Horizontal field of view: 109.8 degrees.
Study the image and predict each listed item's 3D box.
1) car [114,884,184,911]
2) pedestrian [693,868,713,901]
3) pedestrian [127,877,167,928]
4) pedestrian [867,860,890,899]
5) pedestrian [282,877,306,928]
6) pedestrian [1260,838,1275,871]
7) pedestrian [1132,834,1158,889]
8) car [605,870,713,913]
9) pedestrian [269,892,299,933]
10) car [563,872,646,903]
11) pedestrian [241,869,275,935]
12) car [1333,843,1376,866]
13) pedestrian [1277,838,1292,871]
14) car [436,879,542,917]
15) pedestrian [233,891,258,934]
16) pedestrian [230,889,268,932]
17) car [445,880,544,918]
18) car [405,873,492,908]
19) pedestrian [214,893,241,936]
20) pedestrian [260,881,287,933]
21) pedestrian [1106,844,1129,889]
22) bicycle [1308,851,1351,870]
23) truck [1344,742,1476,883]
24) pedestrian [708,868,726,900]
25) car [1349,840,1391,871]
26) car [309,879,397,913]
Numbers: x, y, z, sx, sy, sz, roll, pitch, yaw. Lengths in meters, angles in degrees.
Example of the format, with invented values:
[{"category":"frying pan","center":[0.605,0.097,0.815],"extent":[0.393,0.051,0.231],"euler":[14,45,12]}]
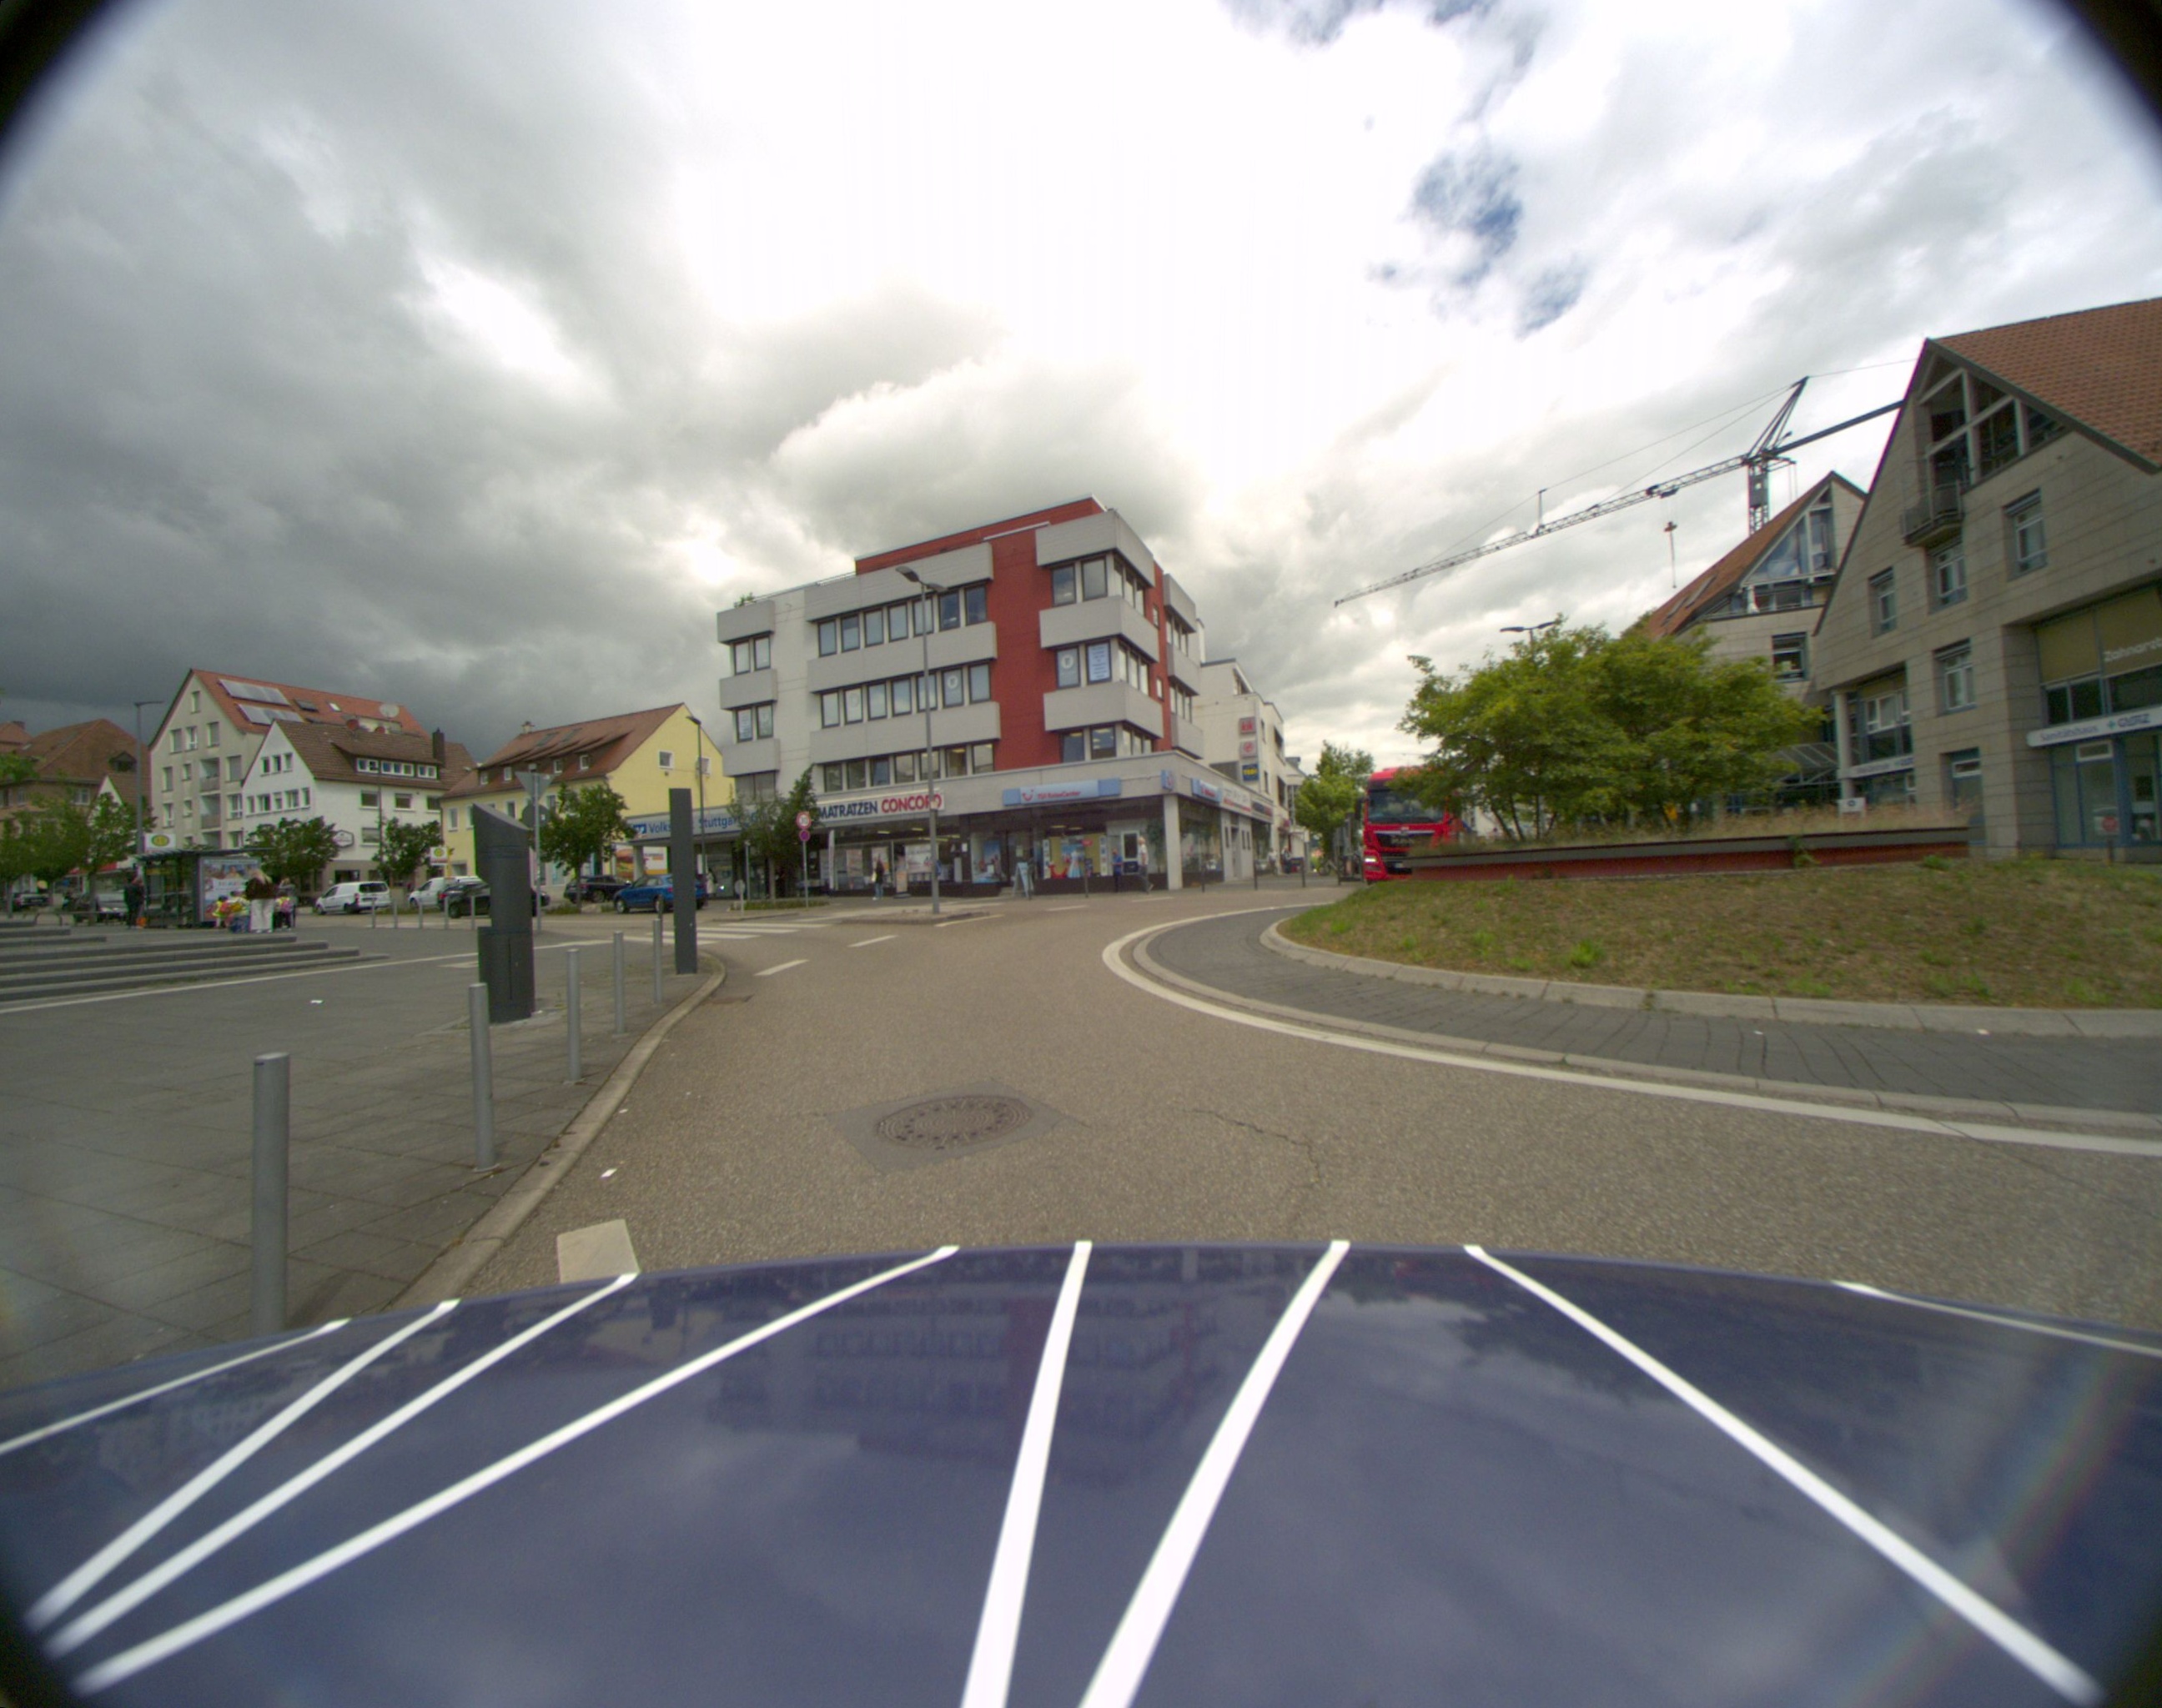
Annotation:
[{"category":"car","center":[-61.392,2.831,50.066],"extent":[4.124,1.637,1.673],"euler":[-1,1,22]},{"category":"pedestrian","center":[-18.451,1.480,37.083],"extent":[0.585,1.557,0.646],"euler":[-2,-2,24]},{"category":"pedestrian","center":[-31.109,1.610,25.310],"extent":[0.685,1.627,0.802],"euler":[-2,-1,39]},{"category":"pedestrian","center":[-8.493,1.059,31.867],"extent":[0.637,1.579,0.589],"euler":[-2,1,21]},{"category":"pedestrian","center":[-25.351,1.547,24.478],"extent":[0.388,1.609,0.468],"euler":[0,-2,-26]},{"category":"pedestrian","center":[10.226,0.036,41.730],"extent":[0.680,1.745,0.511],"euler":[-2,1,18]},{"category":"pedestrian","center":[2.253,0.248,26.613],"extent":[0.680,1.864,0.807],"euler":[-2,0,17]},{"category":"car","center":[-17.569,1.571,31.600],"extent":[4.321,1.591,1.702],"euler":[-2,2,27]},{"category":"pedestrian","center":[-23.119,1.695,22.037],"extent":[0.390,1.165,0.477],"euler":[-2,-2,27]},{"category":"car","center":[-26.956,1.853,43.076],"extent":[1.664,1.549,3.645],"euler":[-2,0,23]},{"category":"pedestrian","center":[-23.019,1.326,21.256],"extent":[0.434,1.811,0.542],"euler":[-2,-2,33]},{"category":"car","center":[19.688,0.028,54.892],"extent":[1.861,1.557,4.377],"euler":[-1,0,6]},{"category":"pedestrian","center":[11.079,0.014,41.349],"extent":[0.509,1.745,0.539],"euler":[-2,1,42]},{"category":"car","center":[-28.327,2.060,36.430],"extent":[1.890,1.515,3.743],"euler":[1,2,44]},{"category":"pedestrian","center":[-23.572,1.643,21.440],"extent":[0.391,1.191,0.510],"euler":[1,-2,-40]},{"category":"pedestrian","center":[-25.048,1.697,22.869],"extent":[0.599,1.295,0.433],"euler":[0,-2,-9]},{"category":"car","center":[-24.448,1.848,31.655],"extent":[4.108,1.411,1.706],"euler":[-2,1,29]},{"category":"car","center":[-35.281,2.044,42.389],"extent":[4.466,1.803,1.764],"euler":[-2,1,22]},{"category":"pedestrian","center":[-23.310,1.648,20.748],"extent":[0.382,1.141,0.441],"euler":[-2,-2,34]},{"category":"pedestrian","center":[-23.743,1.543,22.338],"extent":[0.389,1.507,0.391],"euler":[-2,-2,19]},{"category":"pedestrian","center":[1.336,0.442,27.738],"extent":[0.606,1.594,0.568],"euler":[-3,0,-14]},{"category":"bicycle","center":[12.772,0.344,39.120],"extent":[2.061,0.940,0.522],"euler":[-1,1,19]},{"category":"truck","center":[12.001,-1.230,26.949],"extent":[2.959,4.004,10.615],"euler":[-1,0,30]},{"category":"pedestrian","center":[-18.153,1.479,37.881],"extent":[0.585,1.557,0.512],"euler":[-2,-2,25]},{"category":"car","center":[15.828,0.046,41.518],"extent":[1.859,1.571,4.382],"euler":[-1,0,24]},{"category":"car","center":[-39.149,2.235,40.879],"extent":[4.341,1.662,1.664],"euler":[-2,1,21]}]
